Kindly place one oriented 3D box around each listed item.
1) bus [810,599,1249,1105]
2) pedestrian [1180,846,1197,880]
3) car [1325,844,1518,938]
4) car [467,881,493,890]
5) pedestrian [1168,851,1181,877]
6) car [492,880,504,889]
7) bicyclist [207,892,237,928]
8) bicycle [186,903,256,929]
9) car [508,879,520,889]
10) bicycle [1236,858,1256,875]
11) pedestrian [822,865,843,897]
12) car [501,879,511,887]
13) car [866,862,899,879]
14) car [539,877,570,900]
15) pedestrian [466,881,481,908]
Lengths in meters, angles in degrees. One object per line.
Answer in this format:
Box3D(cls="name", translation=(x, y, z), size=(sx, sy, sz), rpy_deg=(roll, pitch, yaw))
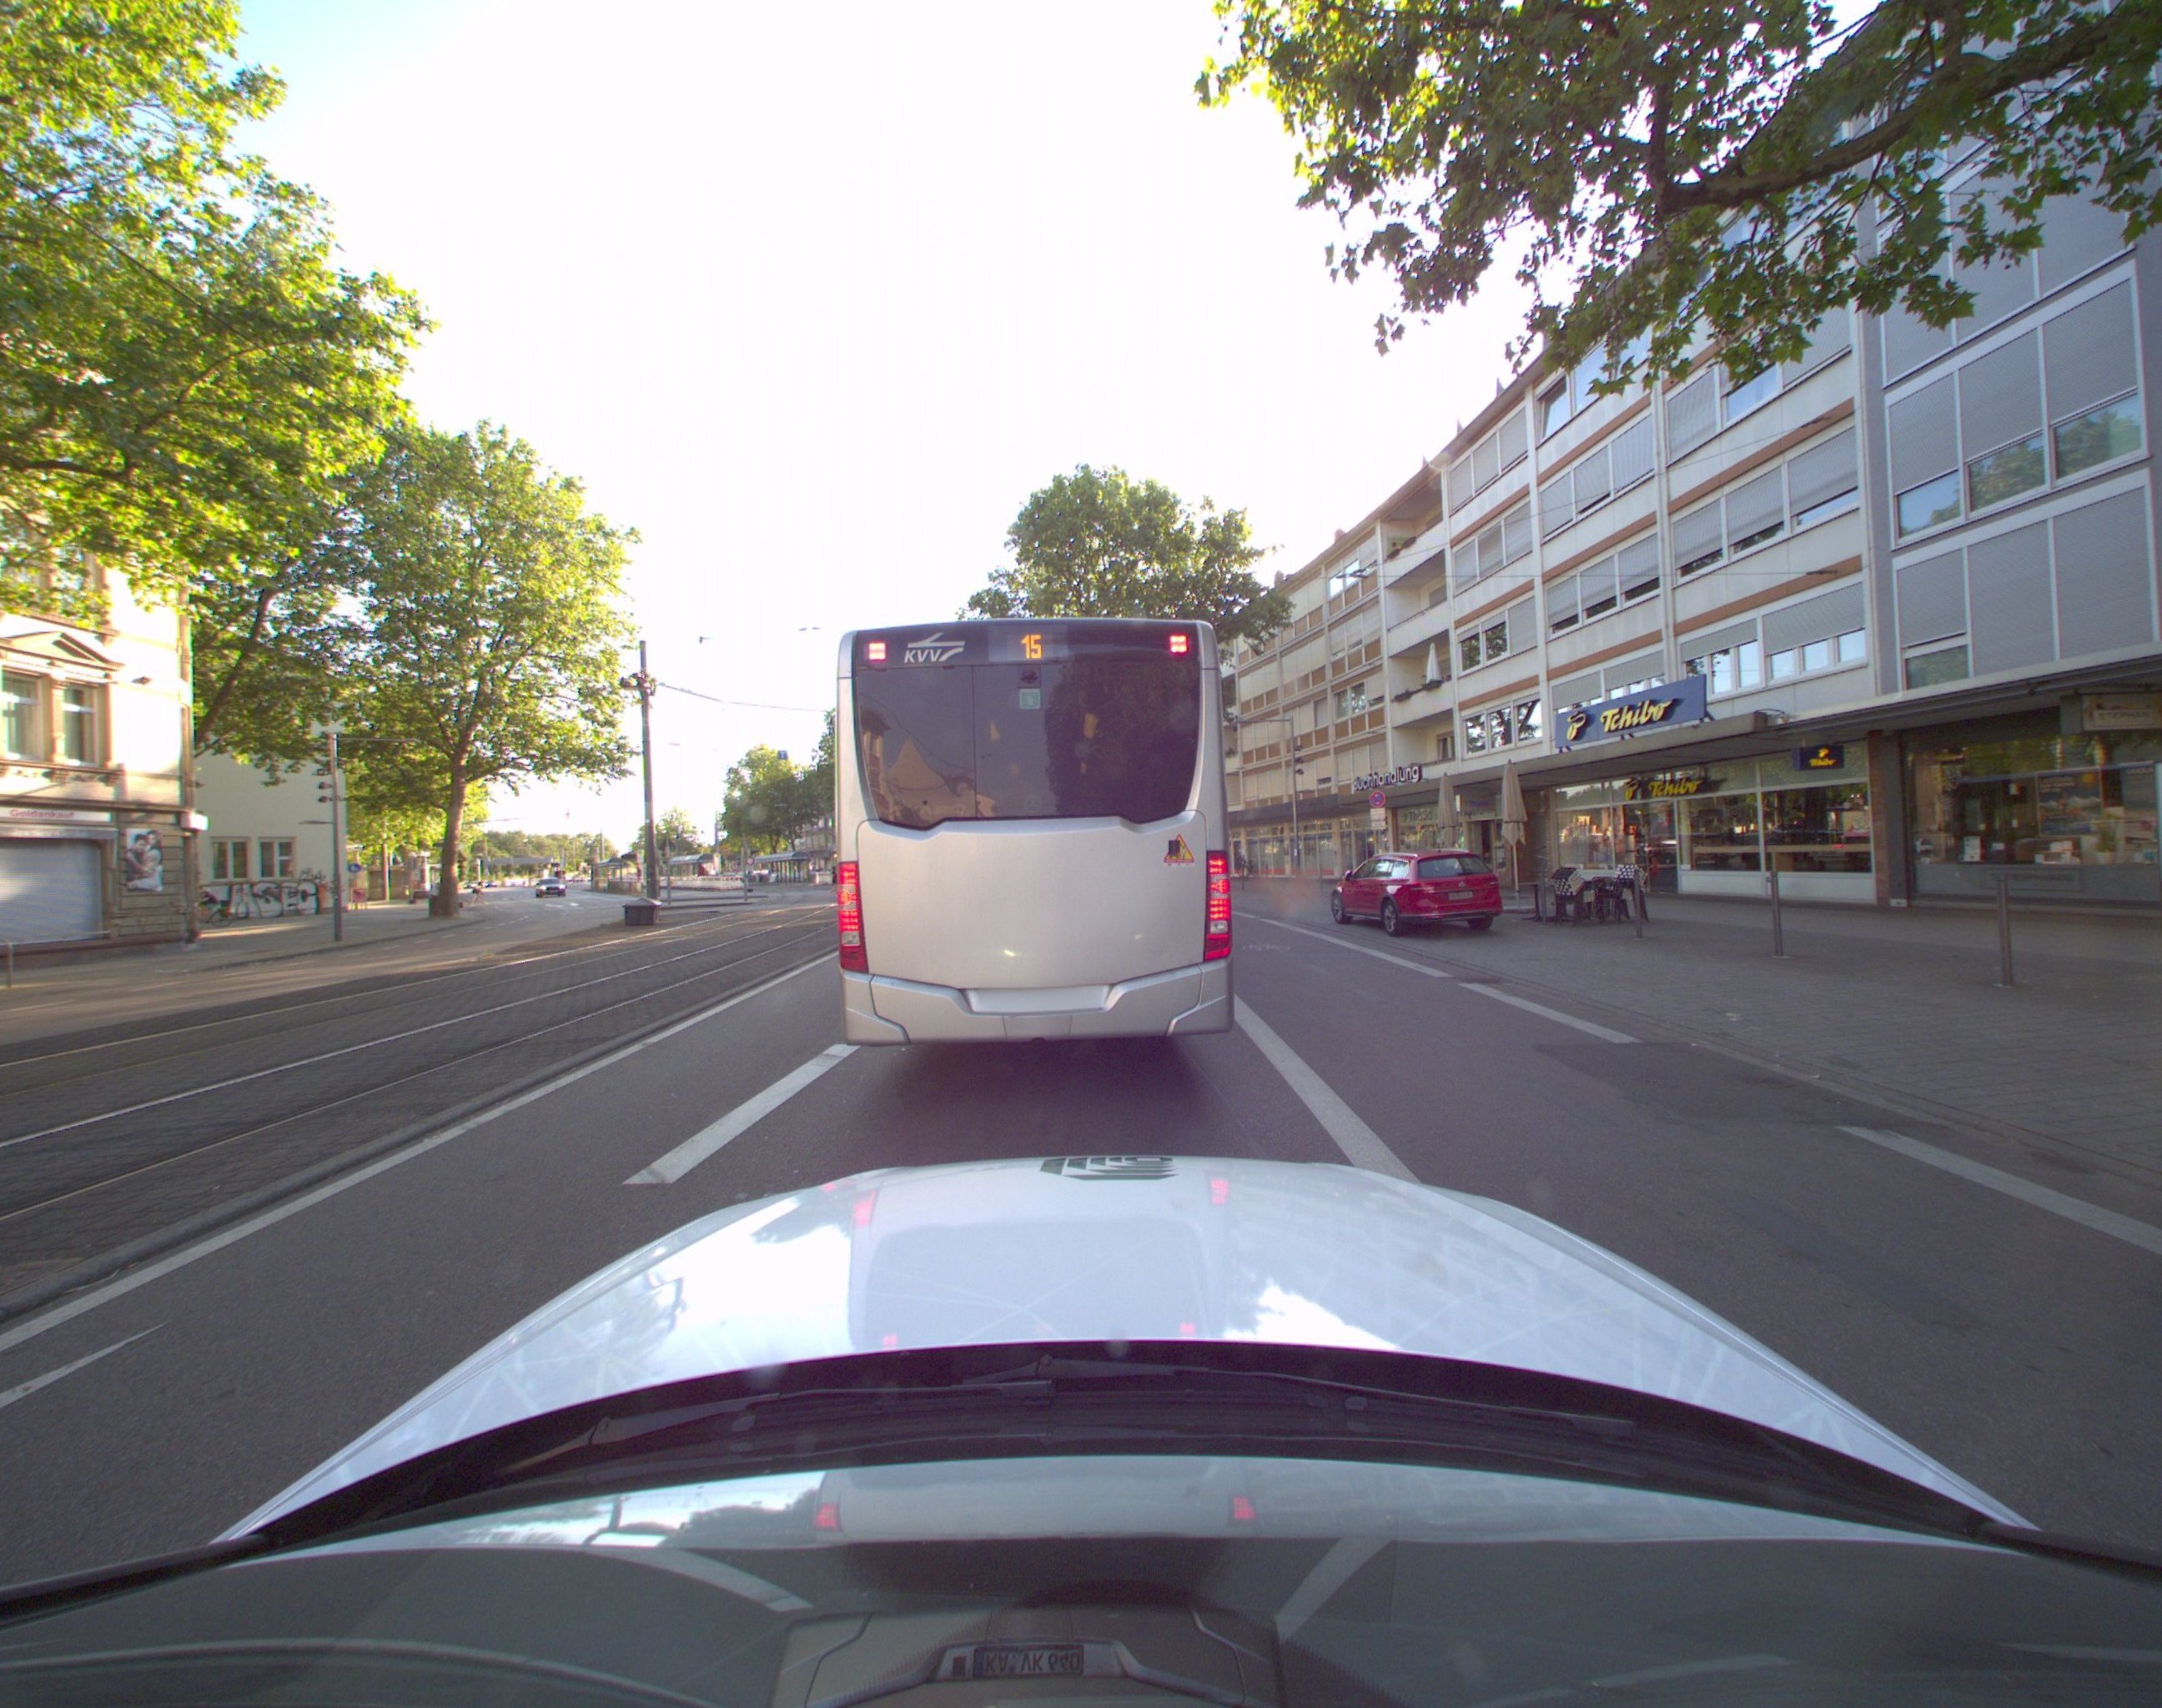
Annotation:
Box3D(cls="bus", translation=(-0.169, 0.018, 9.940), size=(2.621, 3.028, 10.000), rpy_deg=(-1, 0, 2))
Box3D(cls="pedestrian", translation=(5.632, 0.460, 42.563), size=(0.646, 1.717, 0.557), rpy_deg=(-2, -1, -14))
Box3D(cls="car", translation=(6.374, 0.637, 15.846), size=(1.765, 1.482, 4.300), rpy_deg=(-3, 0, -2))
Box3D(cls="car", translation=(-122.663, 6.348, 166.142), size=(1.768, 1.640, 4.024), rpy_deg=(-3, -1, 44))
Box3D(cls="pedestrian", translation=(6.020, 0.635, 52.473), size=(0.536, 1.648, 0.612), rpy_deg=(-2, -1, -15))
Box3D(cls="car", translation=(-117.824, 6.110, 164.678), size=(1.858, 1.684, 3.676), rpy_deg=(-2, -1, -35))
Box3D(cls="bicyclist", translation=(-37.008, 2.401, 35.089), size=(0.746, 1.444, 0.847), rpy_deg=(-3, -1, 42))
Box3D(cls="bicycle", translation=(-37.017, 2.670, 35.070), size=(0.750, 0.937, 2.037), rpy_deg=(-3, -1, 42))
Box3D(cls="car", translation=(-111.442, 5.920, 160.018), size=(1.858, 1.684, 3.677), rpy_deg=(-4, 1, -35))
Box3D(cls="bicycle", translation=(9.248, 0.694, 45.570), size=(0.413, 0.945, 1.431), rpy_deg=(-2, -1, -18))
Box3D(cls="pedestrian", translation=(-13.181, 1.430, 43.247), size=(0.994, 1.686, 0.642), rpy_deg=(-1, -2, -10))
Box3D(cls="car", translation=(-130.088, 6.498, 184.197), size=(1.858, 1.684, 3.676), rpy_deg=(-2, -1, -35))
Box3D(cls="car", translation=(-21.713, 1.776, 88.900), size=(2.010, 1.792, 3.954), rpy_deg=(0, -1, -39))
Box3D(cls="car", translation=(-42.374, 2.749, 65.587), size=(2.008, 1.640, 3.958), rpy_deg=(-2, -1, -33))
Box3D(cls="pedestrian", translation=(-38.948, 2.592, 52.201), size=(0.661, 1.656, 0.438), rpy_deg=(-2, -1, -41))
